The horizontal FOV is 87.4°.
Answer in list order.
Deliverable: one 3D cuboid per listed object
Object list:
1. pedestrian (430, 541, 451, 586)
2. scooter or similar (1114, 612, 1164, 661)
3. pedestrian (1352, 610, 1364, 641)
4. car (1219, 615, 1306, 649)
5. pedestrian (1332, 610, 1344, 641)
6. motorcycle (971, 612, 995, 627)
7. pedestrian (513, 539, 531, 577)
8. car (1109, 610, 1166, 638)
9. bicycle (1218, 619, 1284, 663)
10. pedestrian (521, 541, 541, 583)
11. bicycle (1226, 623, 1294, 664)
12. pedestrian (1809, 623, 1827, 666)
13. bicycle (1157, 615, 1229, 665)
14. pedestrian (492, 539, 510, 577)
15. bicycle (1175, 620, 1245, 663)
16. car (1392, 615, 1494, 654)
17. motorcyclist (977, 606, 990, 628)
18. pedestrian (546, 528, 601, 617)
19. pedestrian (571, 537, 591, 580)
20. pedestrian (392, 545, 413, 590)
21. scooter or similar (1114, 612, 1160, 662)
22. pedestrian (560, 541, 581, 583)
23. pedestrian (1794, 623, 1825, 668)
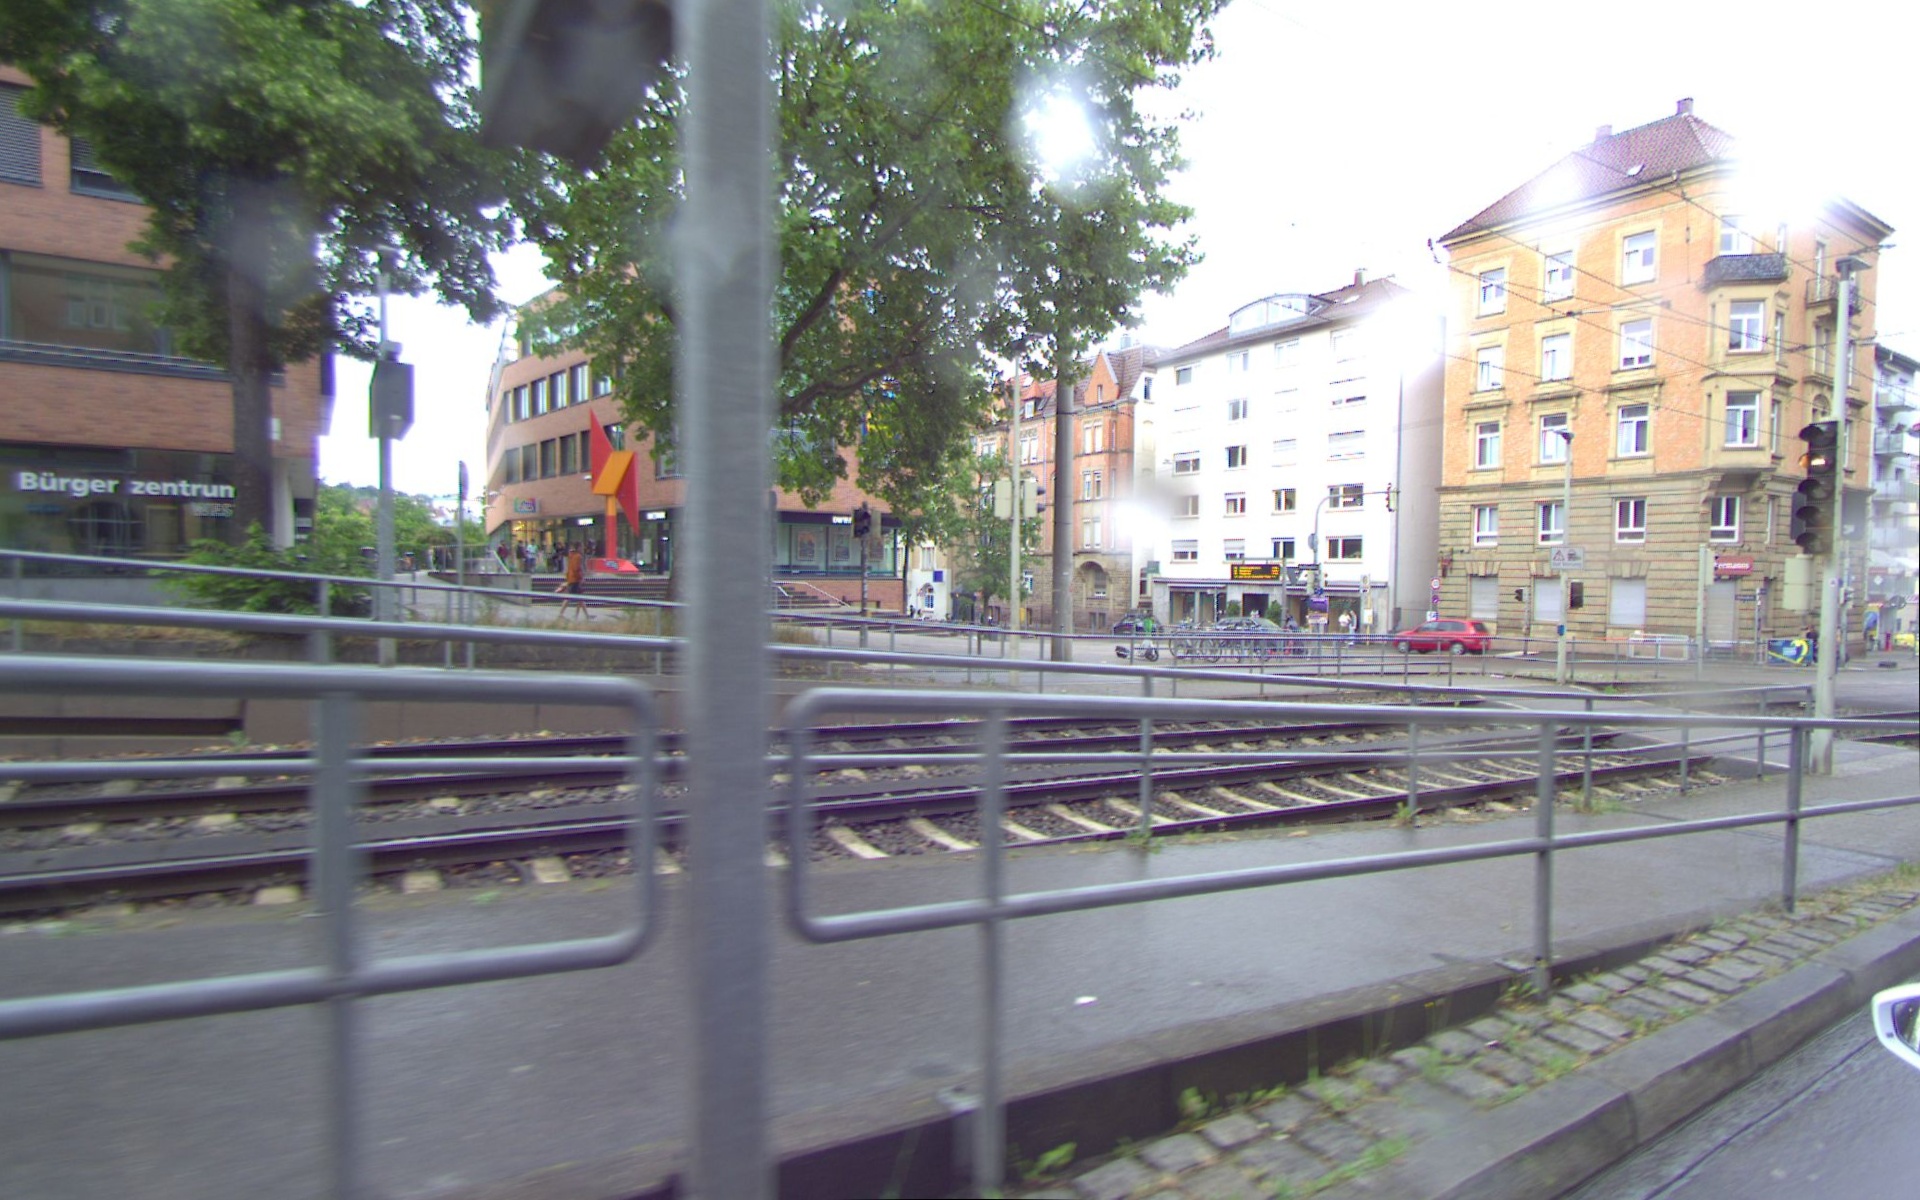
[{"bbox_3d":[-24.054,-1.676,46.542,0.711,2.040,0.713,2,0,-38],"label":"pedestrian"},{"bbox_3d":[4.646,0.948,26.155,1.226,1.211,0.299,2,1,6],"label":"scooter or similar"},{"bbox_3d":[21.329,1.357,53.813,0.507,1.643,0.486,2,1,17],"label":"pedestrian"},{"bbox_3d":[14.024,1.449,46.658,1.669,1.422,3.576,2,0,-35],"label":"car"},{"bbox_3d":[20.431,1.378,54.284,0.507,1.643,0.486,2,1,17],"label":"pedestrian"},{"bbox_3d":[1.493,1.263,65.201,0.590,0.895,1.849,2,0,-35],"label":"motorcycle"},{"bbox_3d":[-24.111,-2.327,55.260,0.711,2.040,0.713,2,1,-37],"label":"pedestrian"},{"bbox_3d":[10.514,1.405,59.679,1.414,1.509,3.123,1,1,-42],"label":"car"},{"bbox_3d":[8.333,1.167,28.800,0.514,1.158,1.749,2,1,-44],"label":"bicycle"},{"bbox_3d":[-21.730,-1.909,50.858,0.711,2.040,0.713,2,0,-38],"label":"pedestrian"},{"bbox_3d":[8.752,1.247,29.363,0.514,1.079,1.852,2,1,-44],"label":"bicycle"},{"bbox_3d":[34.495,1.784,40.380,0.512,1.688,0.474,2,0,42],"label":"pedestrian"},{"bbox_3d":[6.155,1.046,26.661,0.514,1.211,1.852,2,1,-44],"label":"bicycle"},{"bbox_3d":[-25.298,-2.308,55.346,0.711,2.040,0.712,2,0,-38],"label":"pedestrian"},{"bbox_3d":[6.819,1.121,27.453,0.514,1.076,1.852,2,1,-44],"label":"bicycle"},{"bbox_3d":[20.695,1.463,43.118,1.668,1.509,3.577,2,0,-35],"label":"car"},{"bbox_3d":[1.523,1.082,65.156,0.582,1.404,0.617,2,0,-36],"label":"motorcyclist"},{"bbox_3d":[-9.184,-0.635,23.859,0.973,2.040,0.726,2,1,-42],"label":"pedestrian"},{"bbox_3d":[-18.689,-2.030,49.576,0.711,2.040,0.713,2,0,-38],"label":"pedestrian"},{"bbox_3d":[-25.807,-1.480,46.461,0.711,2.040,0.713,2,0,-38],"label":"pedestrian"},{"bbox_3d":[4.473,0.923,25.464,1.090,1.211,0.362,2,0,6],"label":"scooter or similar"},{"bbox_3d":[-19.696,-1.903,50.740,0.707,2.040,0.716,2,0,44],"label":"pedestrian"},{"bbox_3d":[32.737,1.749,38.724,0.667,1.683,0.676,2,0,-27],"label":"pedestrian"}]
